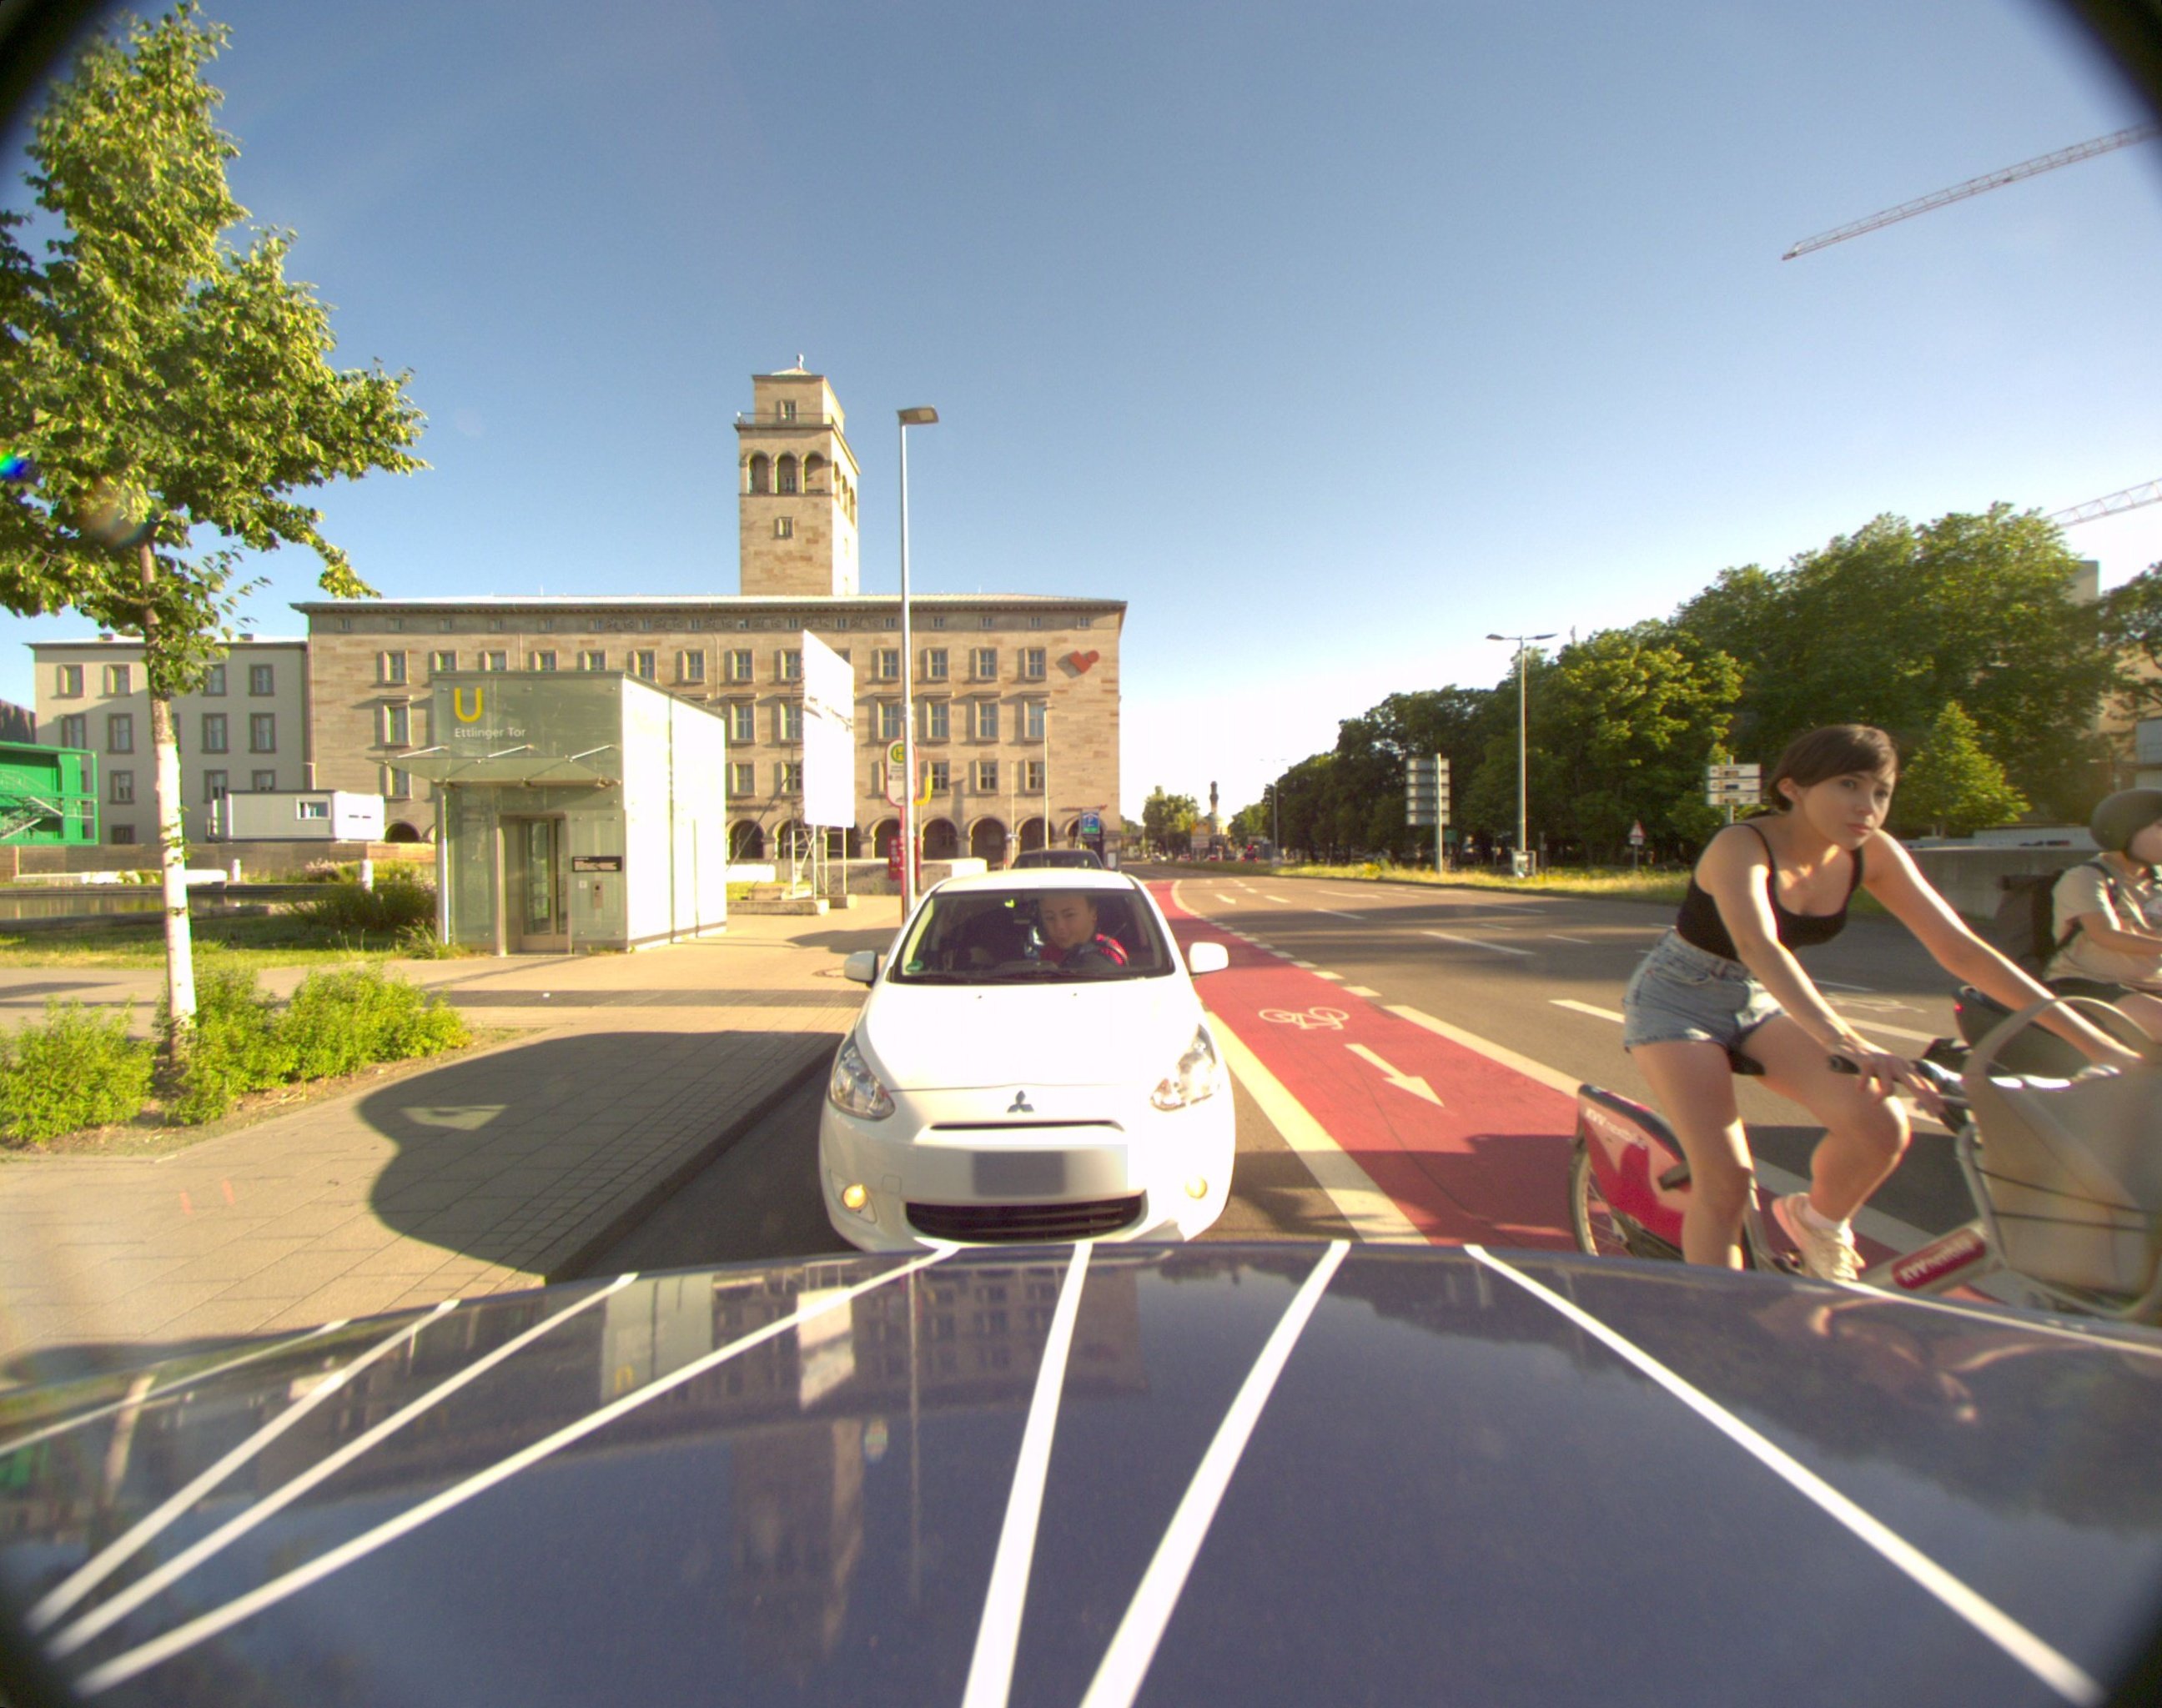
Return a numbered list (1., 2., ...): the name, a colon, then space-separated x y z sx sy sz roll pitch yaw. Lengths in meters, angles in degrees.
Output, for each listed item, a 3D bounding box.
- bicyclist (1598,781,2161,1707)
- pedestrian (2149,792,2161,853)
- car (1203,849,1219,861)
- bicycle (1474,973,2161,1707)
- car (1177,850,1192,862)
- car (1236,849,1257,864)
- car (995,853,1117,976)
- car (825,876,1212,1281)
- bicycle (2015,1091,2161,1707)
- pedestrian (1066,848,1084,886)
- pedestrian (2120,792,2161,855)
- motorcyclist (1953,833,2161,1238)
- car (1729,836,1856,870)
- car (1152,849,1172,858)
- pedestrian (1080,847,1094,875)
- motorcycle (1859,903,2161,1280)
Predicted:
1. bicyclist: 1.672 0.677 1.504 0.643 1.570 0.875 -2 1 -2
2. pedestrian: 35.674 -1.037 24.479 0.940 2.002 1.137 -2 1 -5
3. car: 20.598 0.122 120.443 1.747 1.778 3.947 -2 1 1
4. bicycle: 1.681 1.021 1.660 0.617 1.211 1.831 -2 0 -2
5. car: 16.331 0.312 120.471 1.849 1.677 3.999 -2 1 1
6. car: 21.519 0.291 98.680 1.819 1.817 3.999 -2 1 1
7. car: -0.365 0.842 12.523 1.642 1.653 3.849 -2 0 -1
8. car: -0.226 0.956 4.843 1.496 1.477 3.604 -2 0 1
9. bicycle: 2.344 1.056 0.636 0.648 1.103 1.970 -2 0 -2
10. pedestrian: -0.406 0.847 51.949 1.122 2.524 1.055 -2 1 1
11. pedestrian: 34.635 -0.978 24.415 0.940 2.002 1.137 -2 1 -5
12. motorcyclist: 4.283 0.657 2.942 0.727 1.466 0.917 -2 0 1
13. car: 42.142 -0.048 45.113 5.516 1.924 2.065 -1 1 2
14. car: 15.902 -0.004 149.820 1.853 1.677 3.991 -3 1 -30
15. pedestrian: 0.570 0.615 69.098 1.122 2.524 1.055 -2 1 1
16. motorcycle: 4.291 0.901 2.889 0.724 1.286 1.884 -2 0 1
